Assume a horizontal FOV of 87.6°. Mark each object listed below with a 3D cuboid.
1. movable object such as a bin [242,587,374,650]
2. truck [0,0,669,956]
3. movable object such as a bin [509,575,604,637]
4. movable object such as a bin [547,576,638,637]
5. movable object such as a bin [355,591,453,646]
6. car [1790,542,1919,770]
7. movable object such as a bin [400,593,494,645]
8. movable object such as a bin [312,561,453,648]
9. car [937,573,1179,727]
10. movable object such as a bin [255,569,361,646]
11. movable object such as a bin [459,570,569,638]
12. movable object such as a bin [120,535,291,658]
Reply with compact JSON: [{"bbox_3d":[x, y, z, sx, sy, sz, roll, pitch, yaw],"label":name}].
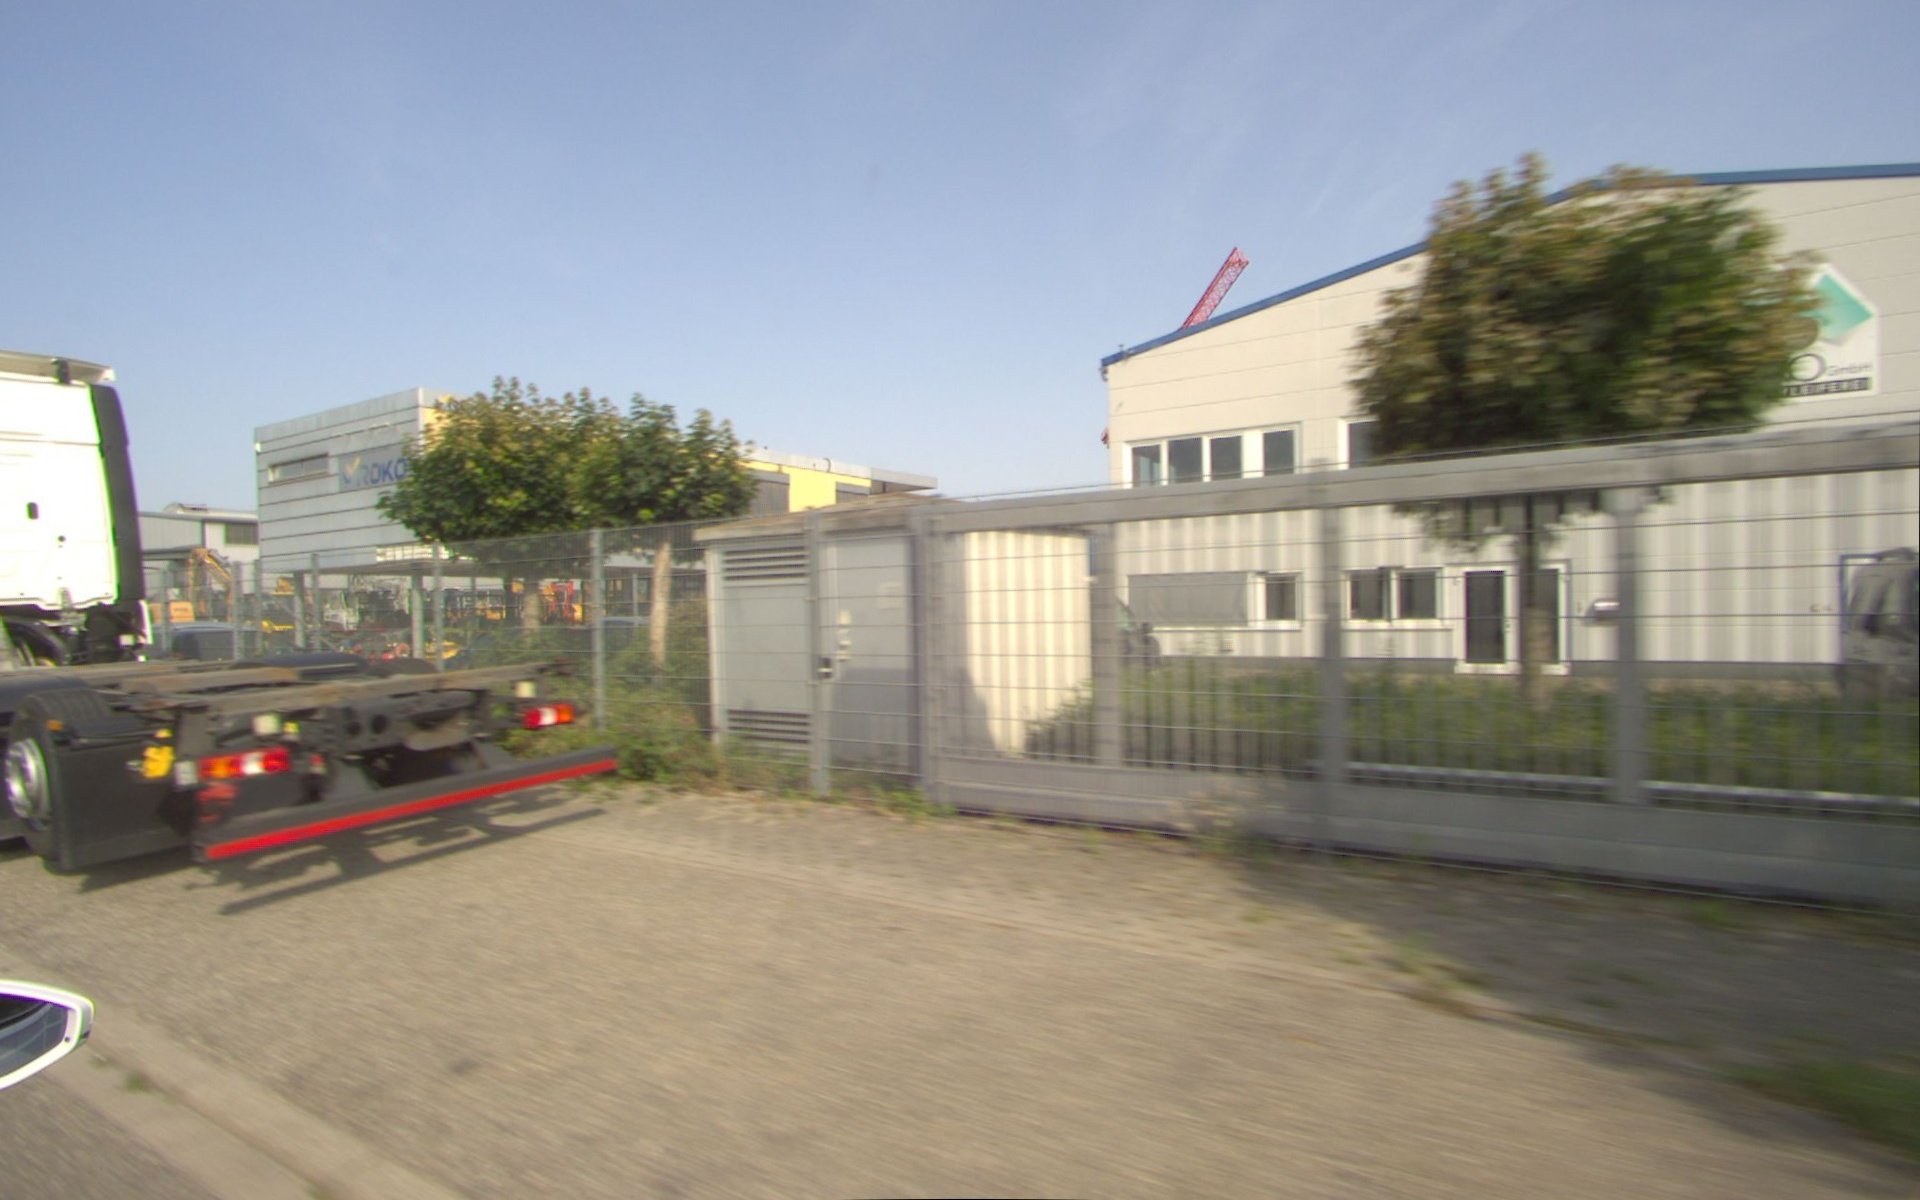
[{"bbox_3d":[-30.382,0.848,46.627,6.257,2.752,2.695,-1,1,32],"label":"movable object such as a bin"},{"bbox_3d":[-6.708,-0.500,7.931,9.548,4.070,2.738,-1,2,33],"label":"truck"},{"bbox_3d":[-26.558,0.426,65.863,6.051,3.831,2.447,-1,1,30],"label":"movable object such as a bin"},{"bbox_3d":[-25.238,0.468,68.788,6.051,3.981,2.447,-1,1,30],"label":"movable object such as a bin"},{"bbox_3d":[-29.691,0.947,53.395,5.607,2.806,2.050,-1,1,32],"label":"movable object such as a bin"},{"bbox_3d":[8.970,0.420,8.610,1.969,1.745,4.481,-1,0,28],"label":"car"},{"bbox_3d":[-28.586,1.037,55.757,5.607,2.806,2.050,-1,1,32],"label":"movable object such as a bin"},{"bbox_3d":[-28.419,0.222,49.212,7.103,3.982,2.912,-1,1,32],"label":"movable object such as a bin"},{"bbox_3d":[1.557,0.632,14.387,1.884,1.859,4.082,-1,-1,31],"label":"car"},{"bbox_3d":[-34.760,0.417,53.341,5.639,3.925,2.677,-1,0,34],"label":"movable object such as a bin"},{"bbox_3d":[-27.798,0.288,62.377,7.094,3.981,2.462,-1,1,30],"label":"movable object such as a bin"},{"bbox_3d":[-32.476,-0.107,43.043,7.562,4.870,3.310,-1,1,32],"label":"movable object such as a bin"}]
